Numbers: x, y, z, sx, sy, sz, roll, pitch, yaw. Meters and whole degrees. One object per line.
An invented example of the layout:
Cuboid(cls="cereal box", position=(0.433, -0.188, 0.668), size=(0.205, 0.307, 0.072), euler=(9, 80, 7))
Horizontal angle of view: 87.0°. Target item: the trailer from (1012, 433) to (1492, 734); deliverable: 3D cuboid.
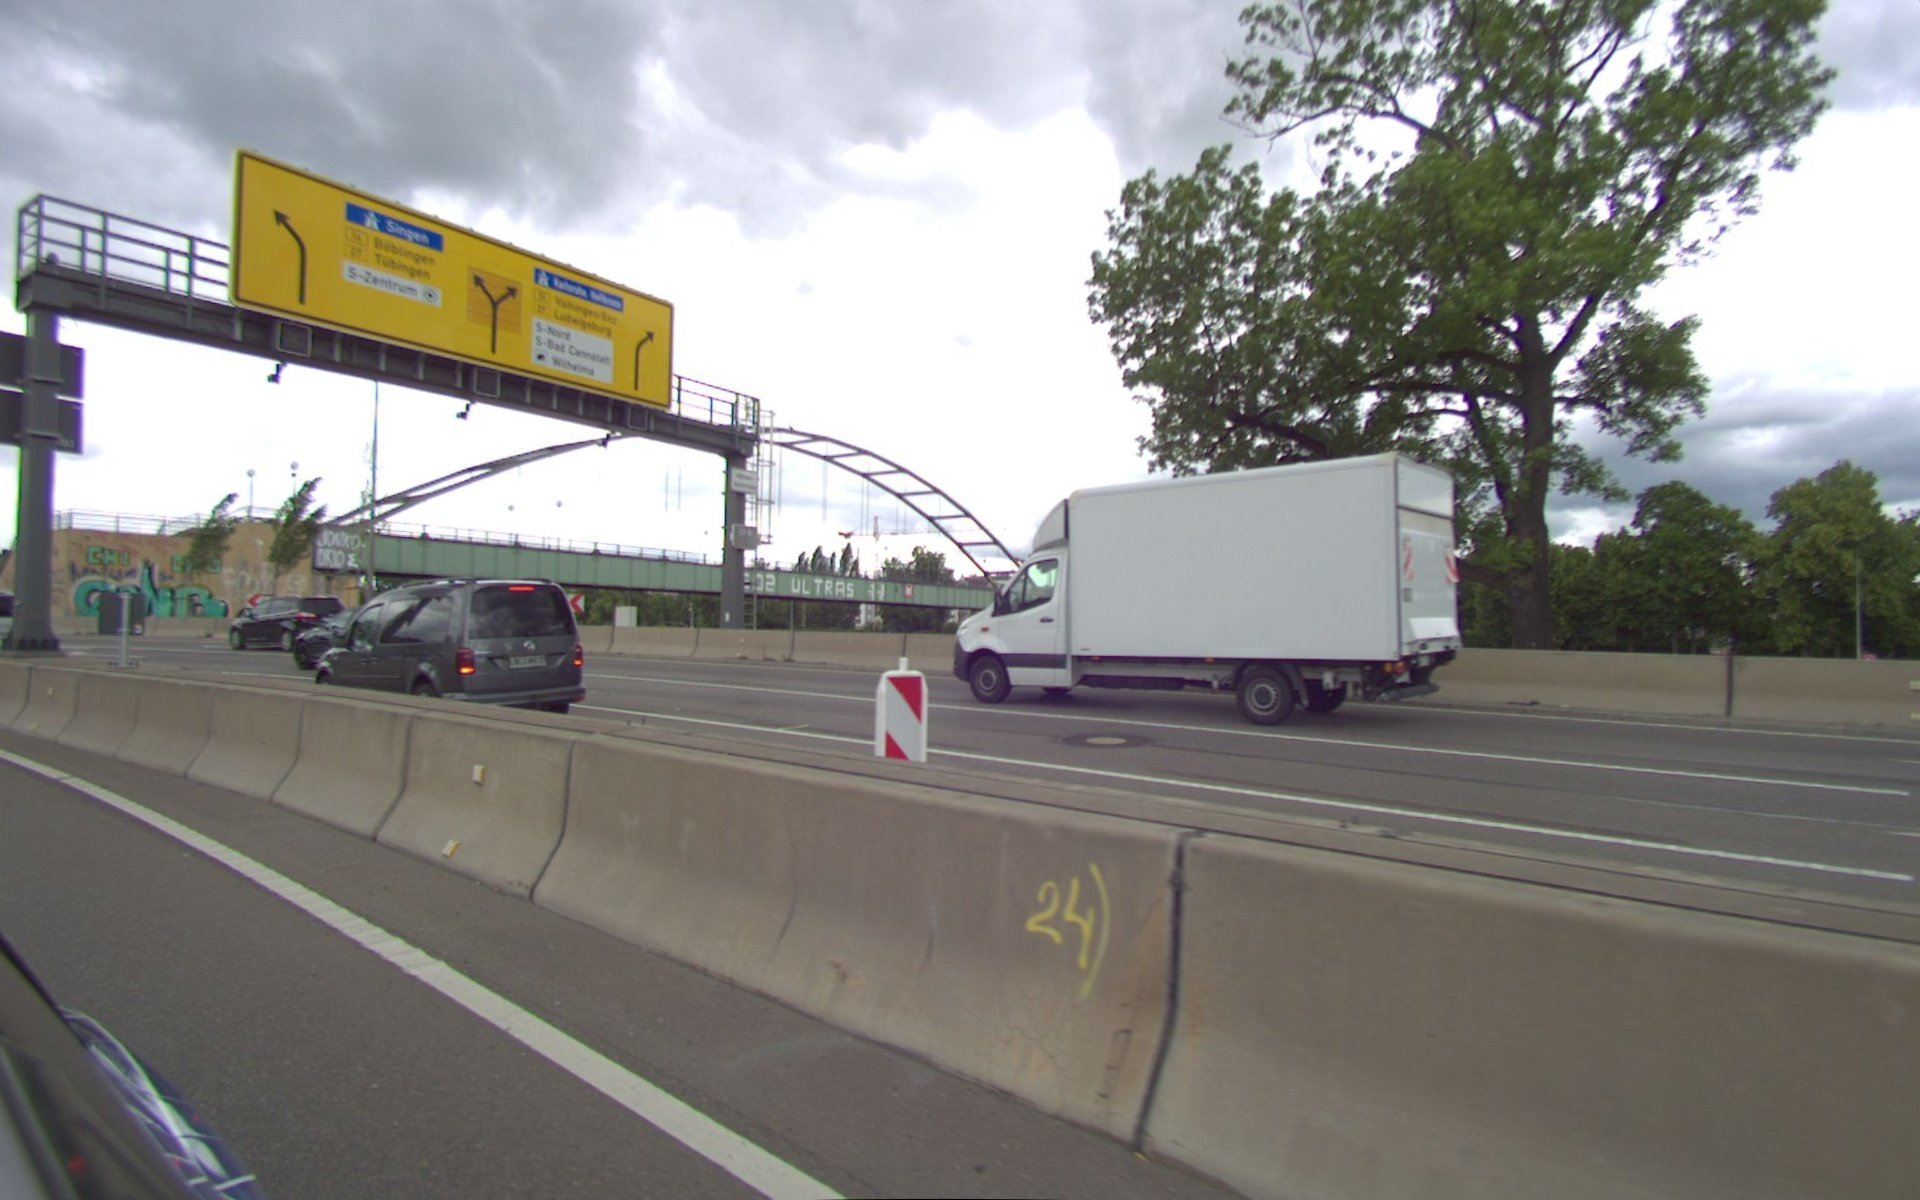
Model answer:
Cuboid(cls="trailer", position=(3.616, -0.167, 13.388), size=(5.709, 3.161, 2.248), euler=(0, 0, 42))

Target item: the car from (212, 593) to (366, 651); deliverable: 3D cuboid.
Cuboid(cls="car", position=(-20.825, 0.653, 31.391), size=(4.705, 1.685, 1.981), euler=(0, 0, 28))

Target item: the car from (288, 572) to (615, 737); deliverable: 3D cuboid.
Cuboid(cls="car", position=(-6.844, 0.627, 13.386), size=(4.946, 1.819, 1.884), euler=(-1, -1, 37))

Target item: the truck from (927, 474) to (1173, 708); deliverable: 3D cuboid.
Cuboid(cls="truck", position=(1.354, -0.118, 15.369), size=(2.986, 3.137, 2.249), euler=(0, 0, 41))

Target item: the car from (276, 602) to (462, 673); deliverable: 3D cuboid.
Cuboid(cls="car", position=(-13.442, 0.777, 22.929), size=(4.559, 1.464, 1.848), euler=(0, -1, 34))

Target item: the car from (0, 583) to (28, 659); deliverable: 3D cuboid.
Cuboid(cls="car", position=(-25.661, 0.522, 25.055), size=(5.763, 1.820, 1.940), euler=(0, 0, 27))
